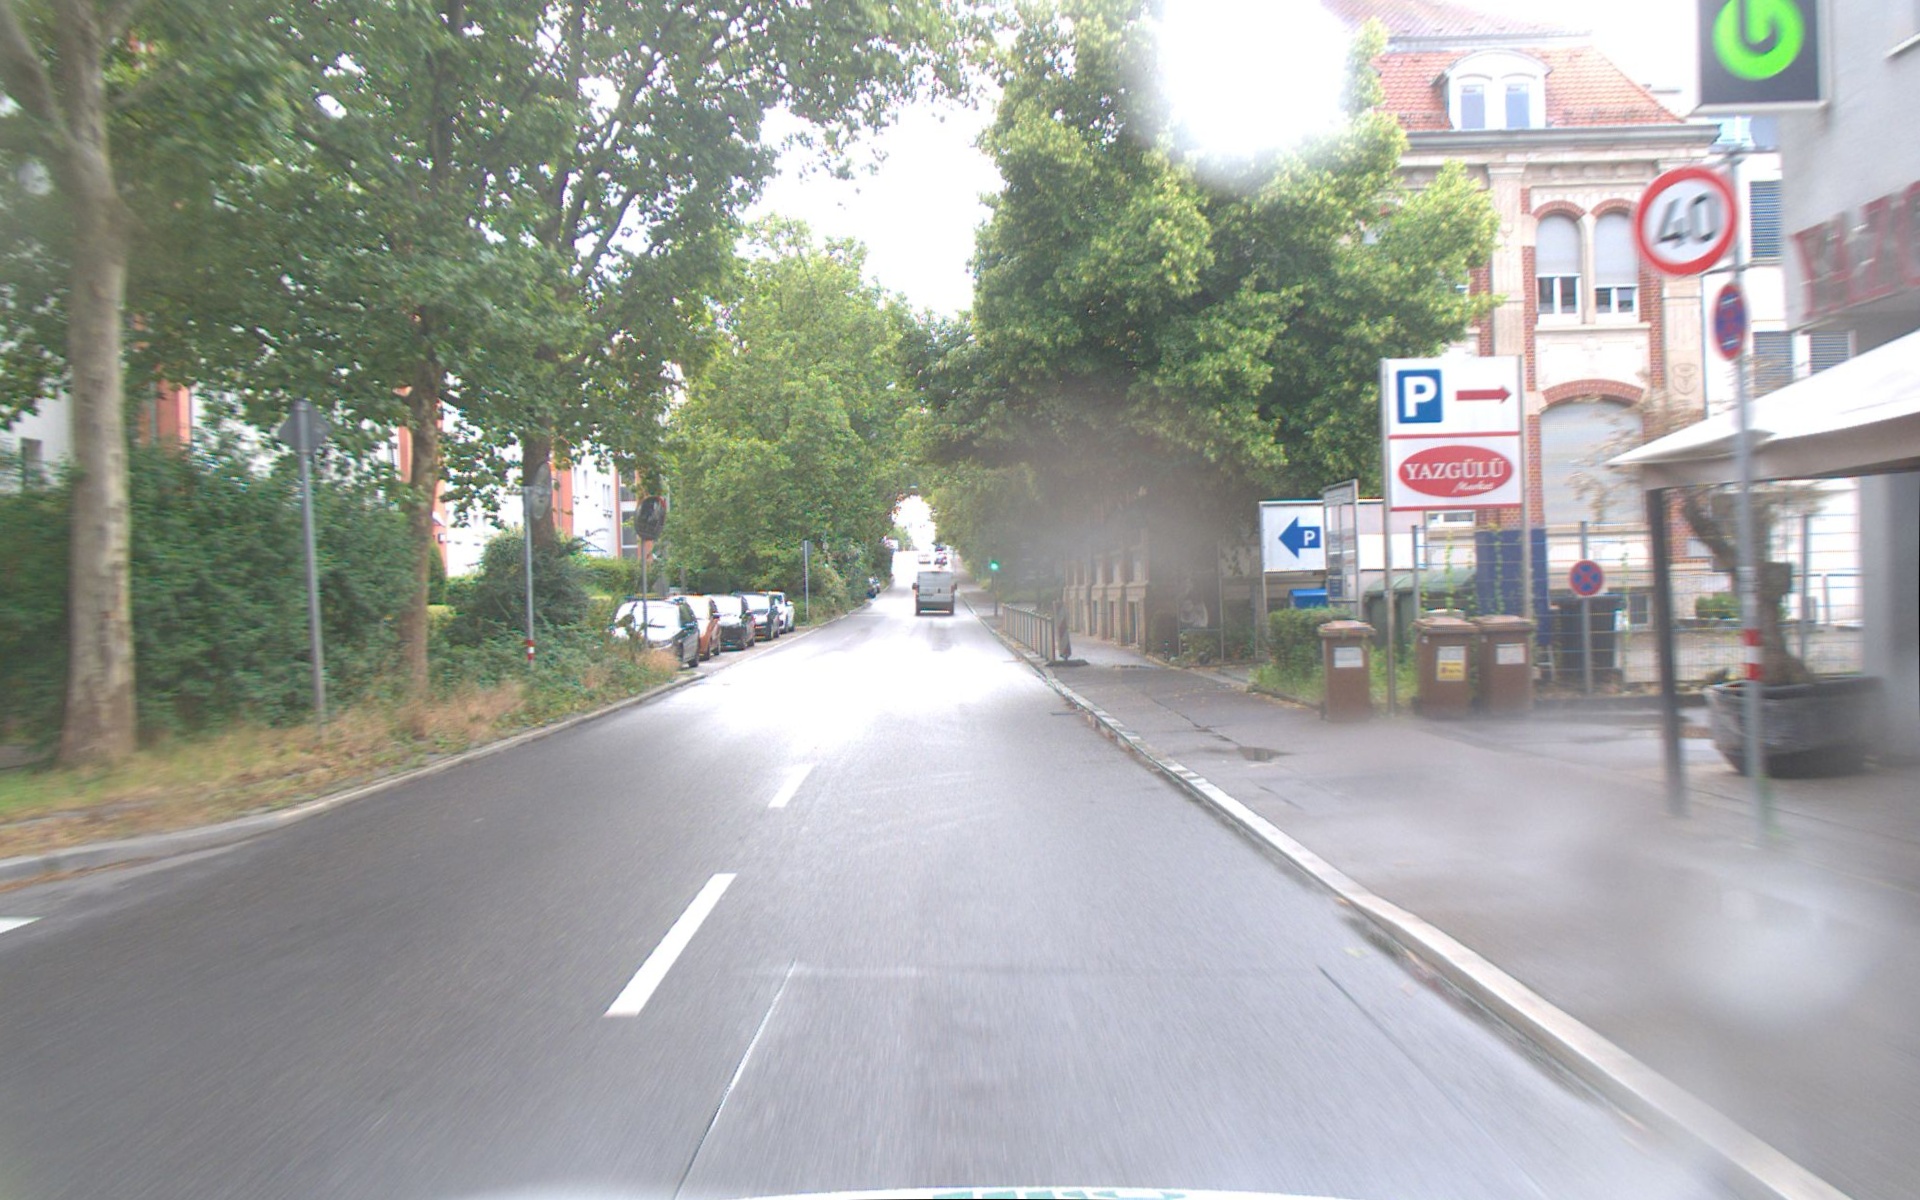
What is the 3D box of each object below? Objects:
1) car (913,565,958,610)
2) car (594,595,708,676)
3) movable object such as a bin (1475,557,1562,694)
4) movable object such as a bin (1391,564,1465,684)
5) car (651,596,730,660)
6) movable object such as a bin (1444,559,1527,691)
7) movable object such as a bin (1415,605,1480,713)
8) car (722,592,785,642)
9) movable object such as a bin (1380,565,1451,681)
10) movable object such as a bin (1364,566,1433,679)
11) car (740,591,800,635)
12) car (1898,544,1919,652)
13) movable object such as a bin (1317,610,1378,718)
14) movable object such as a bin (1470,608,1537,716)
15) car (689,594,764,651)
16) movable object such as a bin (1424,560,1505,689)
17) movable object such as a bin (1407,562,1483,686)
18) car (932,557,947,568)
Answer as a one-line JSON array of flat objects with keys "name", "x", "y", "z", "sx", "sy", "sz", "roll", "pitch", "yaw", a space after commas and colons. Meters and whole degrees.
[{"name": "car", "x": -1.241, "y": -0.624, "z": 86.310, "sx": 2.288, "sy": 2.270, "sz": 3.999, "roll": 1, "pitch": 0, "yaw": 0}, {"name": "car", "x": -6.417, "y": 0.690, "z": 34.765, "sx": 1.682, "sy": 1.536, "sz": 4.802, "roll": -1, "pitch": 1, "yaw": -3}, {"name": "movable object such as a bin", "x": 6.481, "y": 0.289, "z": 19.215, "sx": 0.722, "sy": 1.534, "sz": 0.625, "roll": -2, "pitch": 0, "yaw": -4}, {"name": "movable object such as a bin", "x": 6.181, "y": 0.306, "z": 21.849, "sx": 0.722, "sy": 1.534, "sz": 0.625, "roll": -2, "pitch": 0, "yaw": -5}, {"name": "car", "x": -6.677, "y": 0.660, "z": 41.188, "sx": 1.524, "sy": 1.493, "sz": 3.395, "roll": -1, "pitch": 0, "yaw": -2}, {"name": "movable object such as a bin", "x": 6.288, "y": 0.295, "z": 19.832, "sx": 0.722, "sy": 1.534, "sz": 0.625, "roll": -2, "pitch": 0, "yaw": -4}, {"name": "movable object such as a bin", "x": 5.304, "y": 0.637, "z": 18.008, "sx": 0.520, "sy": 1.135, "sz": 0.561, "roll": -2, "pitch": 0, "yaw": 1}, {"name": "car", "x": -6.545, "y": 0.509, "z": 52.808, "sx": 1.682, "sy": 1.493, "sz": 4.231, "roll": -1, "pitch": 1, "yaw": -3}, {"name": "movable object such as a bin", "x": 6.187, "y": 0.309, "z": 22.497, "sx": 0.722, "sy": 1.534, "sz": 0.625, "roll": -2, "pitch": 0, "yaw": -4}, {"name": "movable object such as a bin", "x": 6.127, "y": 0.310, "z": 23.136, "sx": 0.722, "sy": 1.527, "sz": 0.625, "roll": -2, "pitch": 0, "yaw": -4}, {"name": "car", "x": -6.791, "y": 0.455, "z": 59.499, "sx": 1.681, "sy": 1.493, "sz": 4.309, "roll": 0, "pitch": 1, "yaw": 0}, {"name": "car", "x": 14.216, "y": -0.066, "z": 21.500, "sx": 1.630, "sy": 1.512, "sz": 4.133, "roll": -2, "pitch": 0, "yaw": -1}, {"name": "movable object such as a bin", "x": 4.233, "y": 0.691, "z": 18.100, "sx": 0.494, "sy": 1.135, "sz": 0.618, "roll": -2, "pitch": 0, "yaw": -1}, {"name": "movable object such as a bin", "x": 5.942, "y": 0.669, "z": 18.110, "sx": 0.494, "sy": 1.135, "sz": 0.618, "roll": -2, "pitch": 0, "yaw": -1}, {"name": "car", "x": -6.523, "y": 0.603, "z": 46.528, "sx": 1.682, "sy": 1.493, "sz": 3.754, "roll": -1, "pitch": 1, "yaw": -2}, {"name": "movable object such as a bin", "x": 6.243, "y": 0.298, "z": 20.485, "sx": 0.722, "sy": 1.534, "sz": 0.625, "roll": -2, "pitch": 0, "yaw": -4}, {"name": "movable object such as a bin", "x": 6.215, "y": 0.302, "z": 21.208, "sx": 0.722, "sy": 1.534, "sz": 0.625, "roll": -2, "pitch": 0, "yaw": -4}, {"name": "car", "x": -3.198, "y": -5.898, "z": 260.777, "sx": 2.103, "sy": 1.739, "sz": 3.874, "roll": 1, "pitch": 0, "yaw": 3}]
